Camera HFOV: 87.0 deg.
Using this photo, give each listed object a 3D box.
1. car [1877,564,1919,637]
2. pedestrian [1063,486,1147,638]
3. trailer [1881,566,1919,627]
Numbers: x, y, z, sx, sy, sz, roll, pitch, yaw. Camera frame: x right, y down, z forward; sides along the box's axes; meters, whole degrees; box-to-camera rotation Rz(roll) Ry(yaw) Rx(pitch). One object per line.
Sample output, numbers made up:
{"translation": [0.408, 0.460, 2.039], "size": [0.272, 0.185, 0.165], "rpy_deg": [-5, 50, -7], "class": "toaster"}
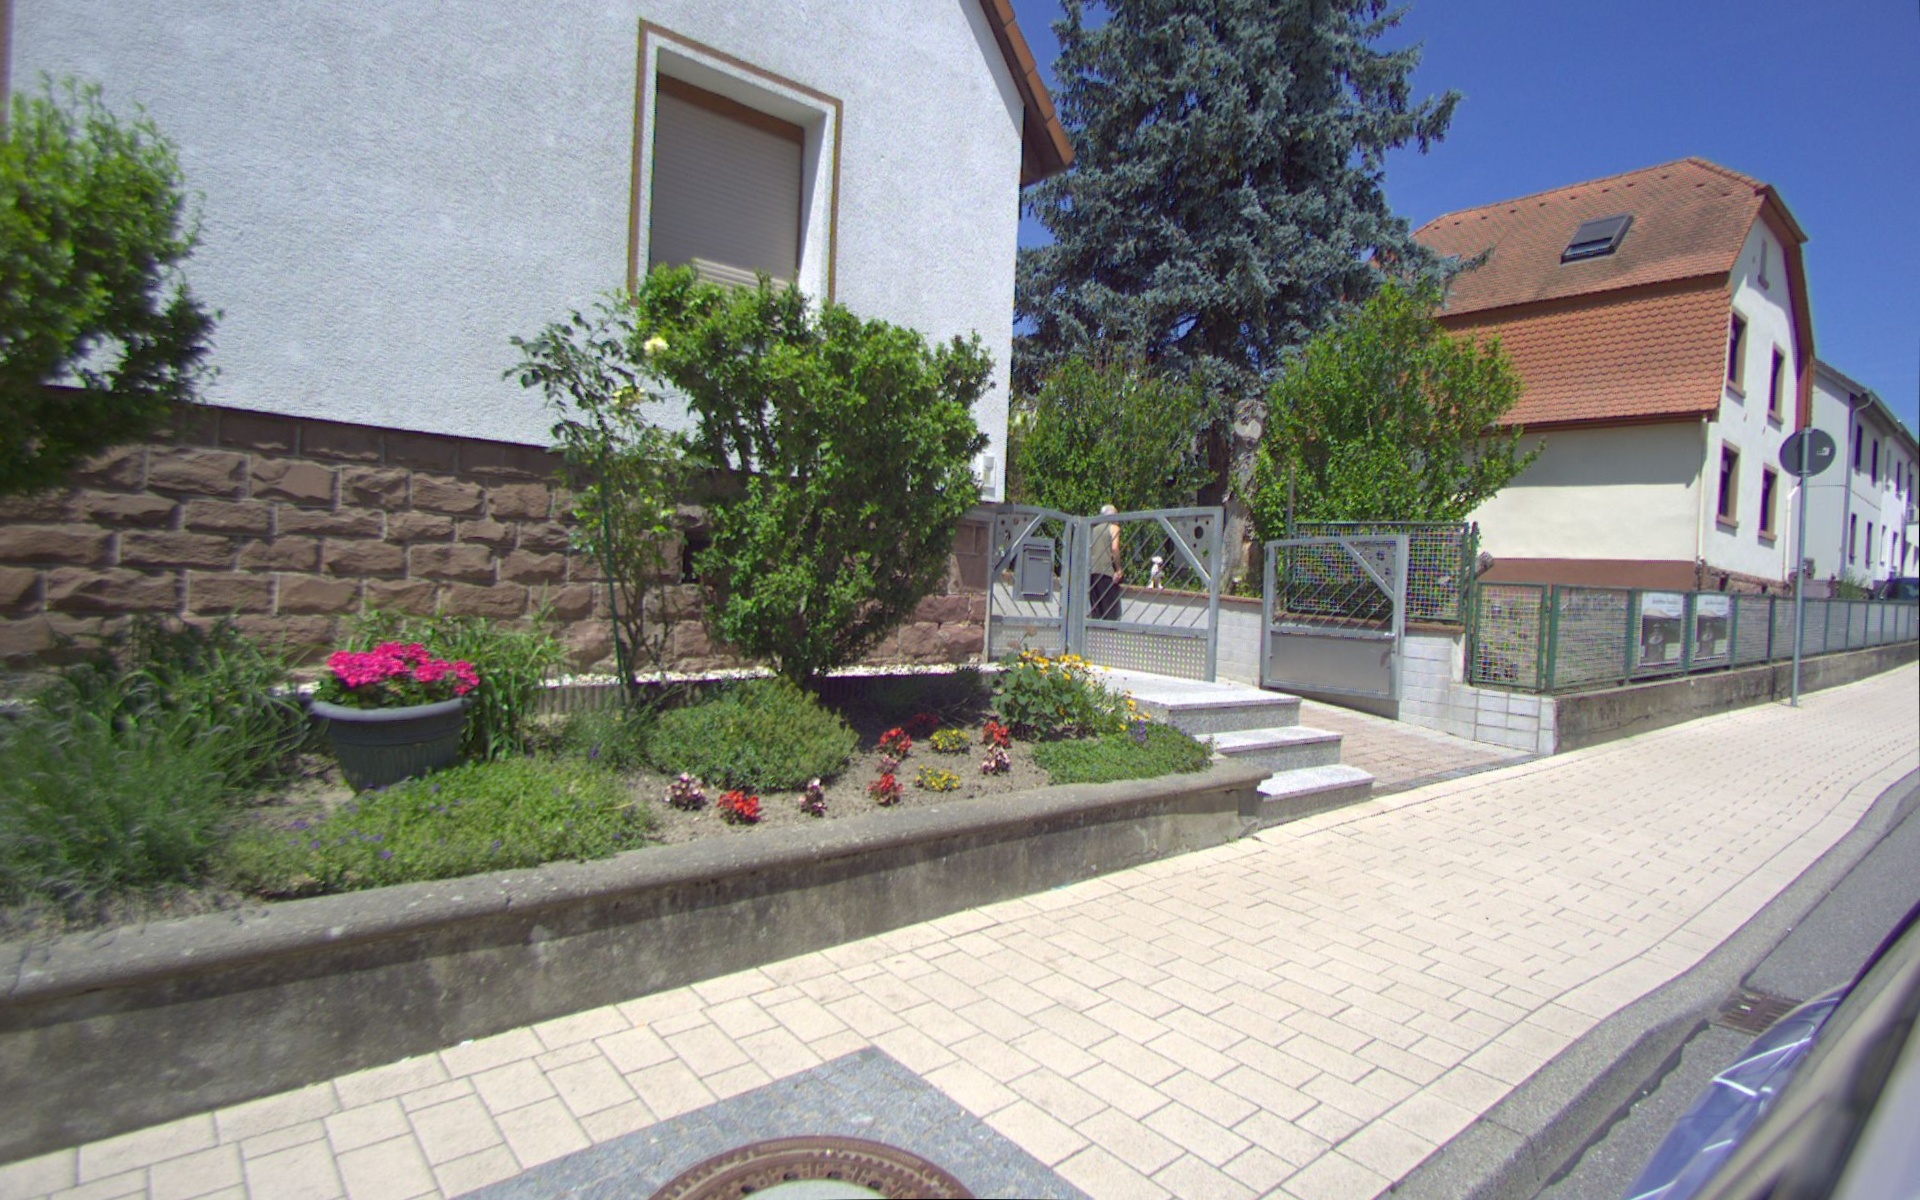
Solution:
{"translation": [29.413, 0.079, 30.444], "size": [4.688, 1.993, 1.859], "rpy_deg": [0, 8, -40], "class": "car"}
{"translation": [1.620, -0.437, 11.364], "size": [0.543, 1.634, 0.606], "rpy_deg": [1, 5, -40], "class": "pedestrian"}
{"translation": [32.880, -0.119, 34.213], "size": [2.231, 2.039, 1.323], "rpy_deg": [0, 0, 2], "class": "trailer"}
